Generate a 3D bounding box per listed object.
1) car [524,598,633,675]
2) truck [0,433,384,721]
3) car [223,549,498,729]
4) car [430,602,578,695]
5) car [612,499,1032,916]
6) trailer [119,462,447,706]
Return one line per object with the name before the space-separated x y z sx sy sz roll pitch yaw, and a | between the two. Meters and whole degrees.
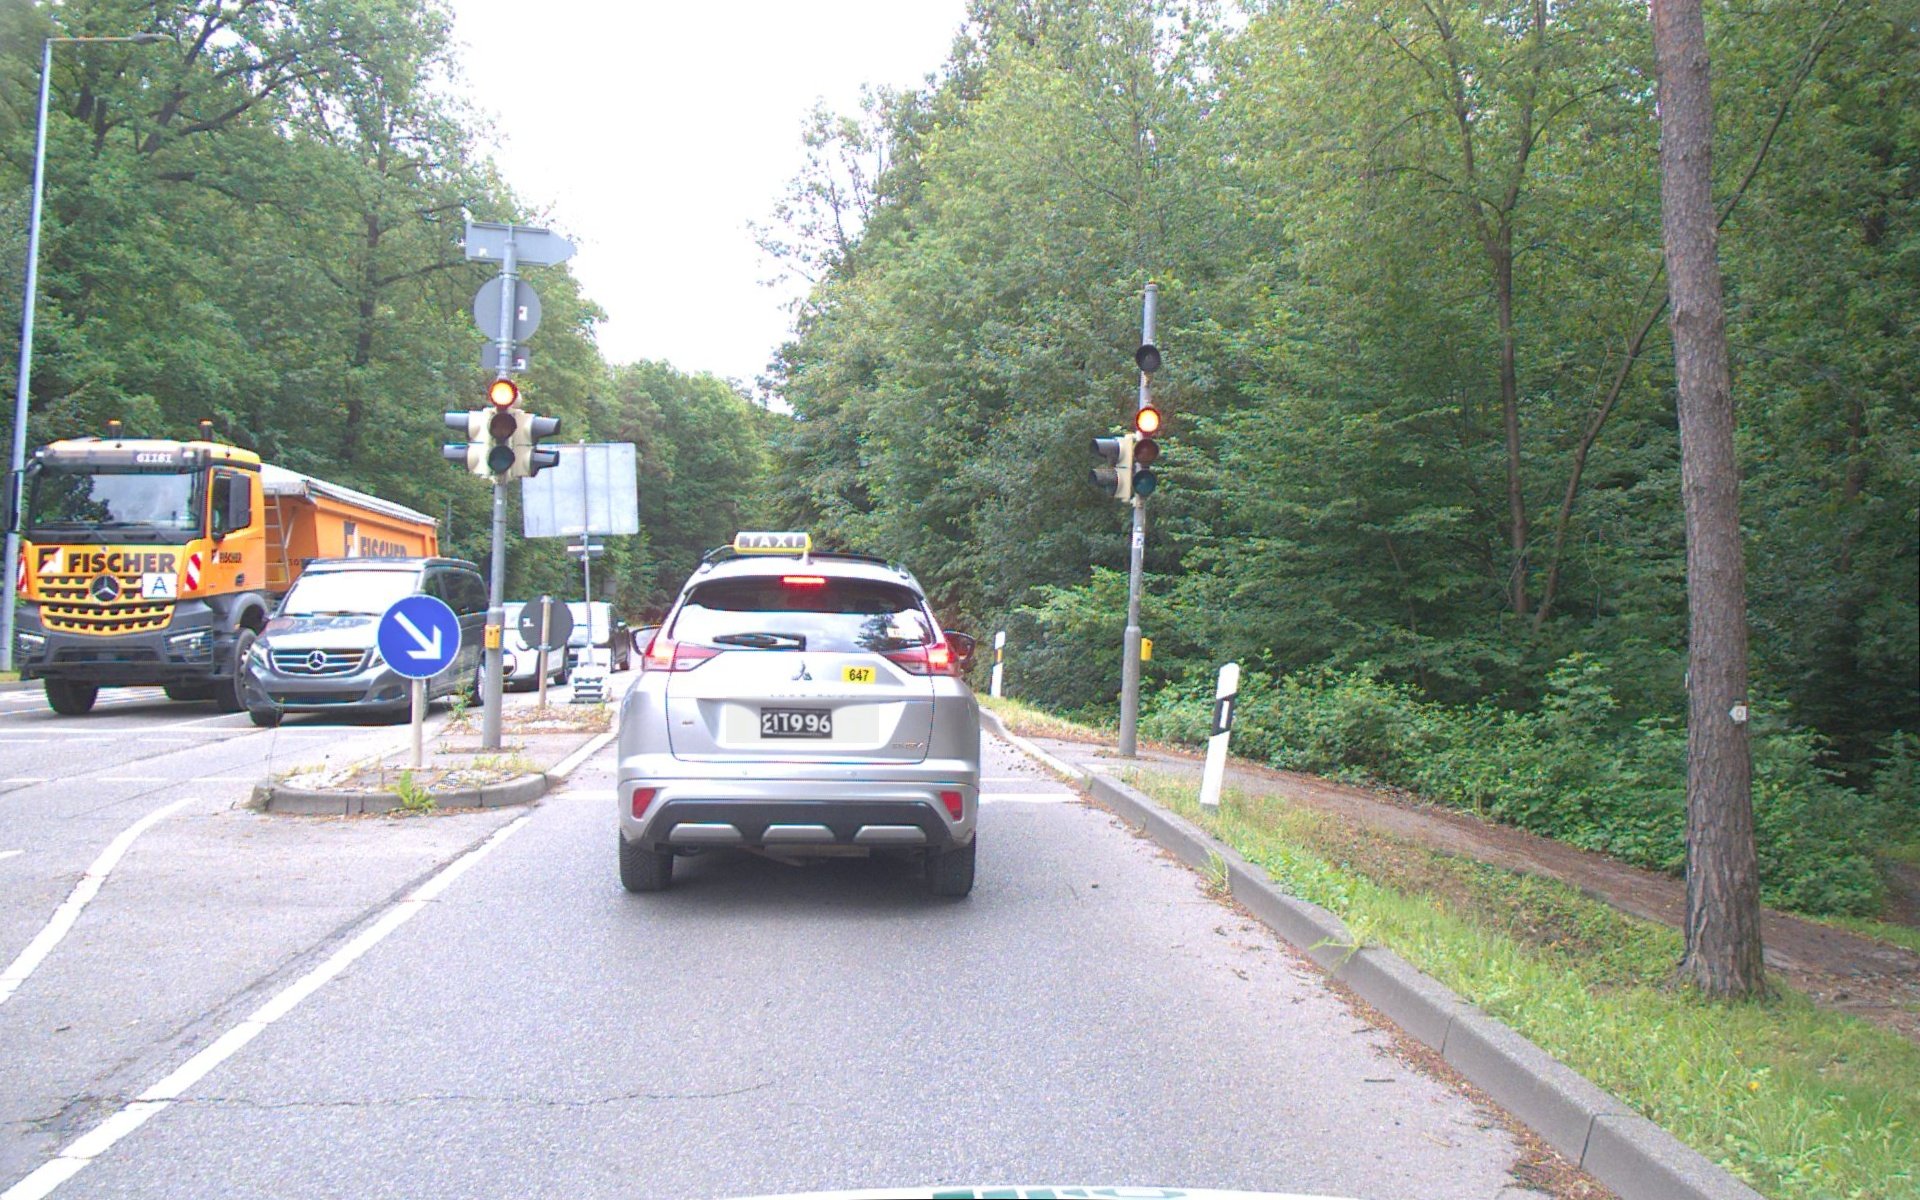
car | -8.246 0.770 36.032 1.776 1.534 3.717 -1 0 -5
truck | -10.290 -0.227 23.065 2.686 3.376 7.150 0 -1 -6
car | -7.184 0.440 20.400 1.954 1.927 4.834 -1 0 -5
car | -7.508 0.756 27.551 1.580 1.344 3.719 -1 1 -3
car | -0.794 0.458 9.352 1.811 1.811 3.996 2 1 -6
trailer | -10.721 -0.167 27.281 2.686 3.376 8.557 0 -1 -6
